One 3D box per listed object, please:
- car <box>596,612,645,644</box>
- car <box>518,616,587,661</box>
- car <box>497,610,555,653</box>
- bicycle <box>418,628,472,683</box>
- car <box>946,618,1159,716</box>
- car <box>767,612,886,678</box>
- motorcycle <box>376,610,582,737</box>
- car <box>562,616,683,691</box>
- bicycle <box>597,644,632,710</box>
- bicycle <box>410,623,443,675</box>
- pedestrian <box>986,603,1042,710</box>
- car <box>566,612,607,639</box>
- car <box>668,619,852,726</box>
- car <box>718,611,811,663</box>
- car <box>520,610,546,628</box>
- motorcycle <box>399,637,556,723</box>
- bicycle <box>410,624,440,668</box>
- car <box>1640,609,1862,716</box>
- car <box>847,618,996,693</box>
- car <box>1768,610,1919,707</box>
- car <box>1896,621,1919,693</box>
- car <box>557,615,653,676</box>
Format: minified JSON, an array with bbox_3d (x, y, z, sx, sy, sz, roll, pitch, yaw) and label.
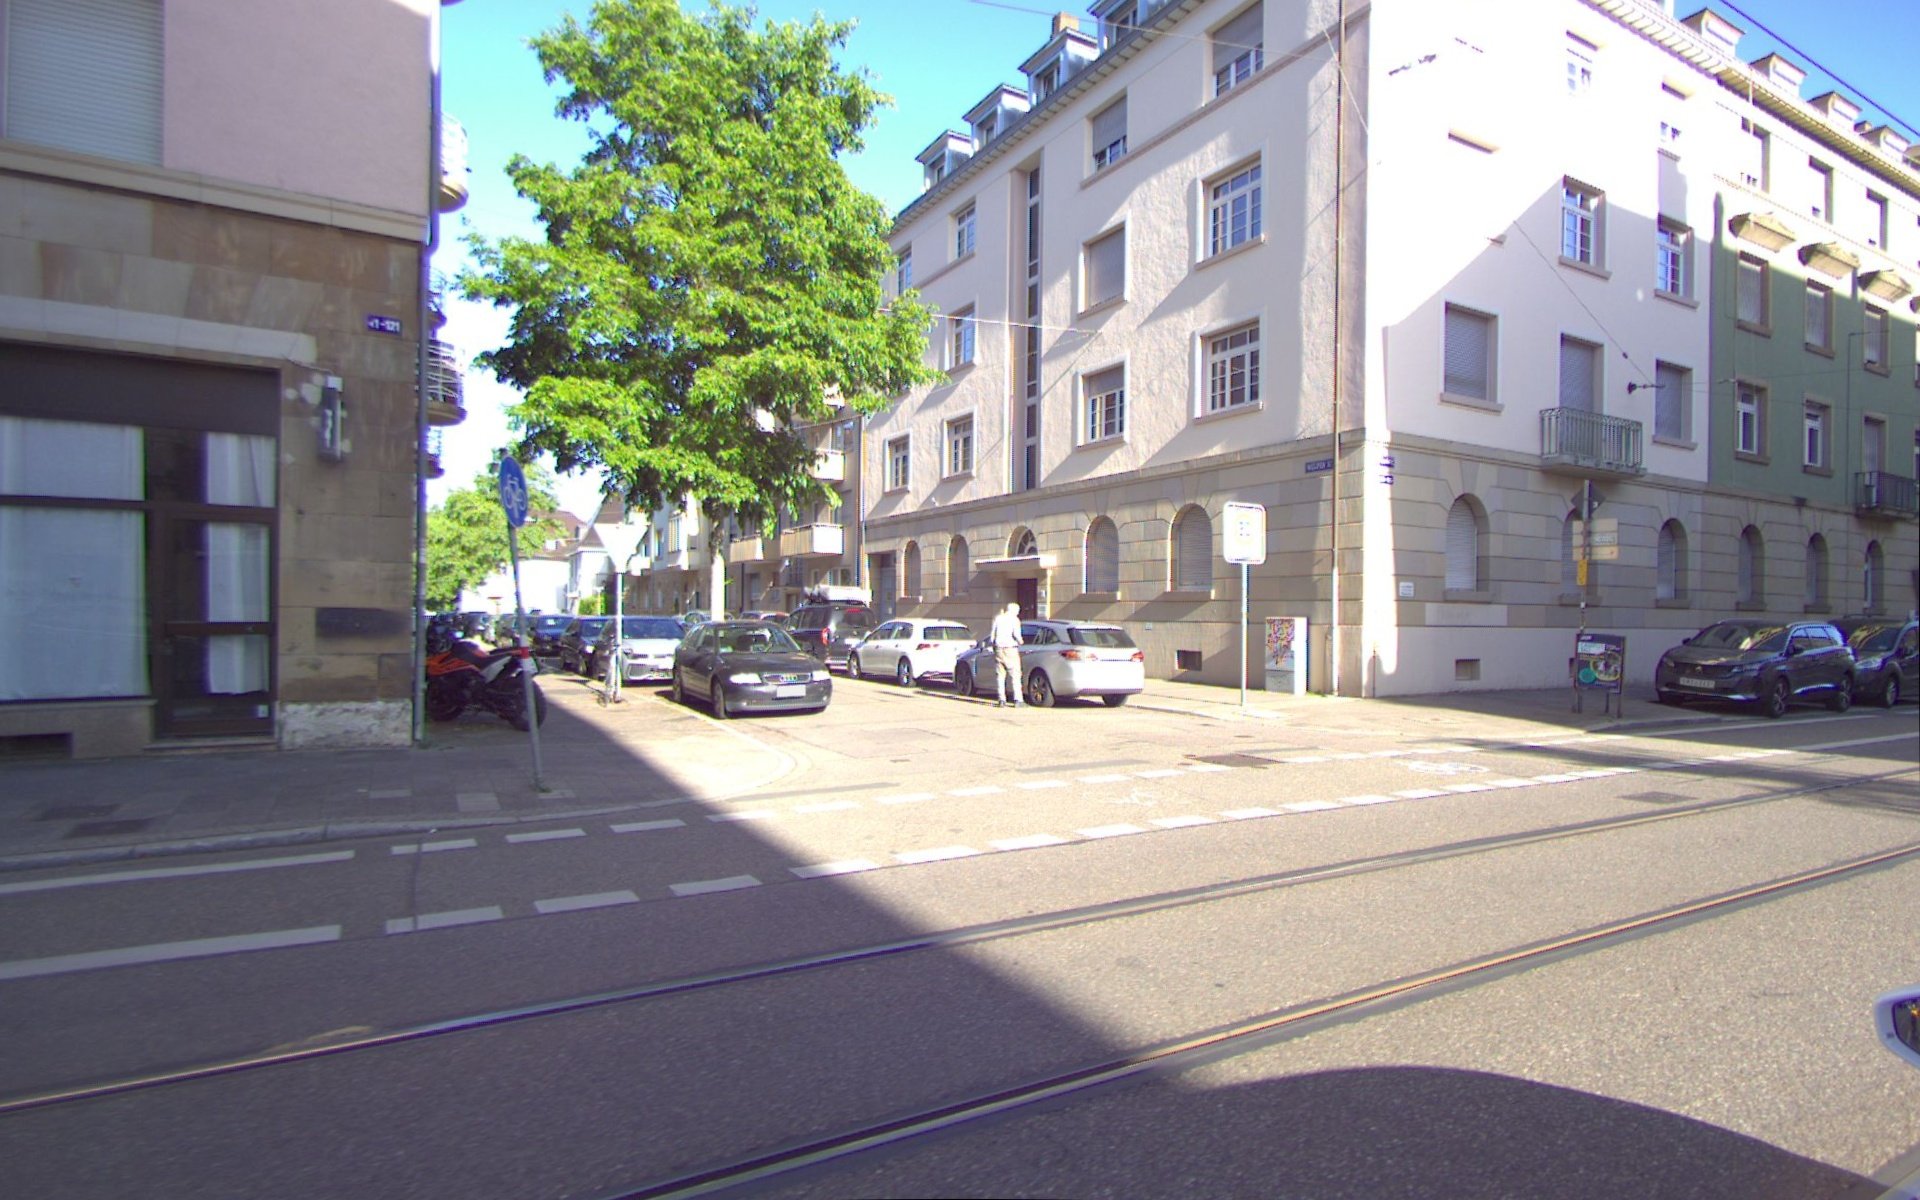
[{"bbox_3d":[-18.061,1.470,53.327,1.761,1.599,3.968,-1,0,-30],"label":"car"},{"bbox_3d":[-14.452,1.304,35.514,1.727,1.441,3.968,-1,0,-30],"label":"car"},{"bbox_3d":[-17.810,1.243,41.148,1.727,1.671,3.968,-1,0,-30],"label":"car"},{"bbox_3d":[-9.547,1.021,18.681,0.605,0.945,2.466,0,-2,-21],"label":"bicycle"},{"bbox_3d":[1.528,1.103,18.185,1.761,1.484,4.197,-1,0,-30],"label":"car"},{"bbox_3d":[-3.714,1.158,27.390,1.837,1.602,3.968,-1,0,-30],"label":"car"},{"bbox_3d":[-5.712,0.854,12.030,1.985,1.437,0.951,1,0,0],"label":"motorcycle"},{"bbox_3d":[-7.346,1.076,21.655,1.727,1.413,3.968,-1,0,-30],"label":"car"},{"bbox_3d":[-5.574,1.208,16.156,0.468,0.945,1.782,0,-1,-21],"label":"bicycle"},{"bbox_3d":[-12.735,1.166,23.936,0.607,1.178,2.459,1,-3,-30],"label":"bicycle"},{"bbox_3d":[0.891,0.922,16.738,0.723,1.735,0.604,1,0,-30],"label":"pedestrian"},{"bbox_3d":[-23.423,1.585,62.944,1.761,1.599,3.968,-1,0,-30],"label":"car"},{"bbox_3d":[-3.331,1.044,16.116,1.727,1.413,3.968,-1,0,-30],"label":"car"},{"bbox_3d":[-6.383,1.140,32.465,1.761,1.542,3.968,-1,0,-30],"label":"car"},{"bbox_3d":[-39.104,1.697,91.895,1.761,1.599,3.968,-1,0,-30],"label":"car"},{"bbox_3d":[-6.315,1.025,13.148,1.995,1.049,0.557,0,0,17],"label":"motorcycle"},{"bbox_3d":[-14.017,1.210,26.312,0.607,1.101,2.459,1,-3,-30],"label":"bicycle"},{"bbox_3d":[14.770,1.071,18.689,4.616,1.713,1.773,1,1,-32],"label":"car"},{"bbox_3d":[-0.957,1.174,22.765,1.819,1.484,3.778,-1,0,-30],"label":"car"},{"bbox_3d":[19.371,1.174,21.418,4.473,1.840,1.775,1,1,-29],"label":"car"},{"bbox_3d":[24.505,1.377,24.155,4.558,1.648,1.773,1,1,-32],"label":"car"},{"bbox_3d":[-9.418,1.130,26.497,1.727,1.441,3.685,-1,0,-30],"label":"car"}]
